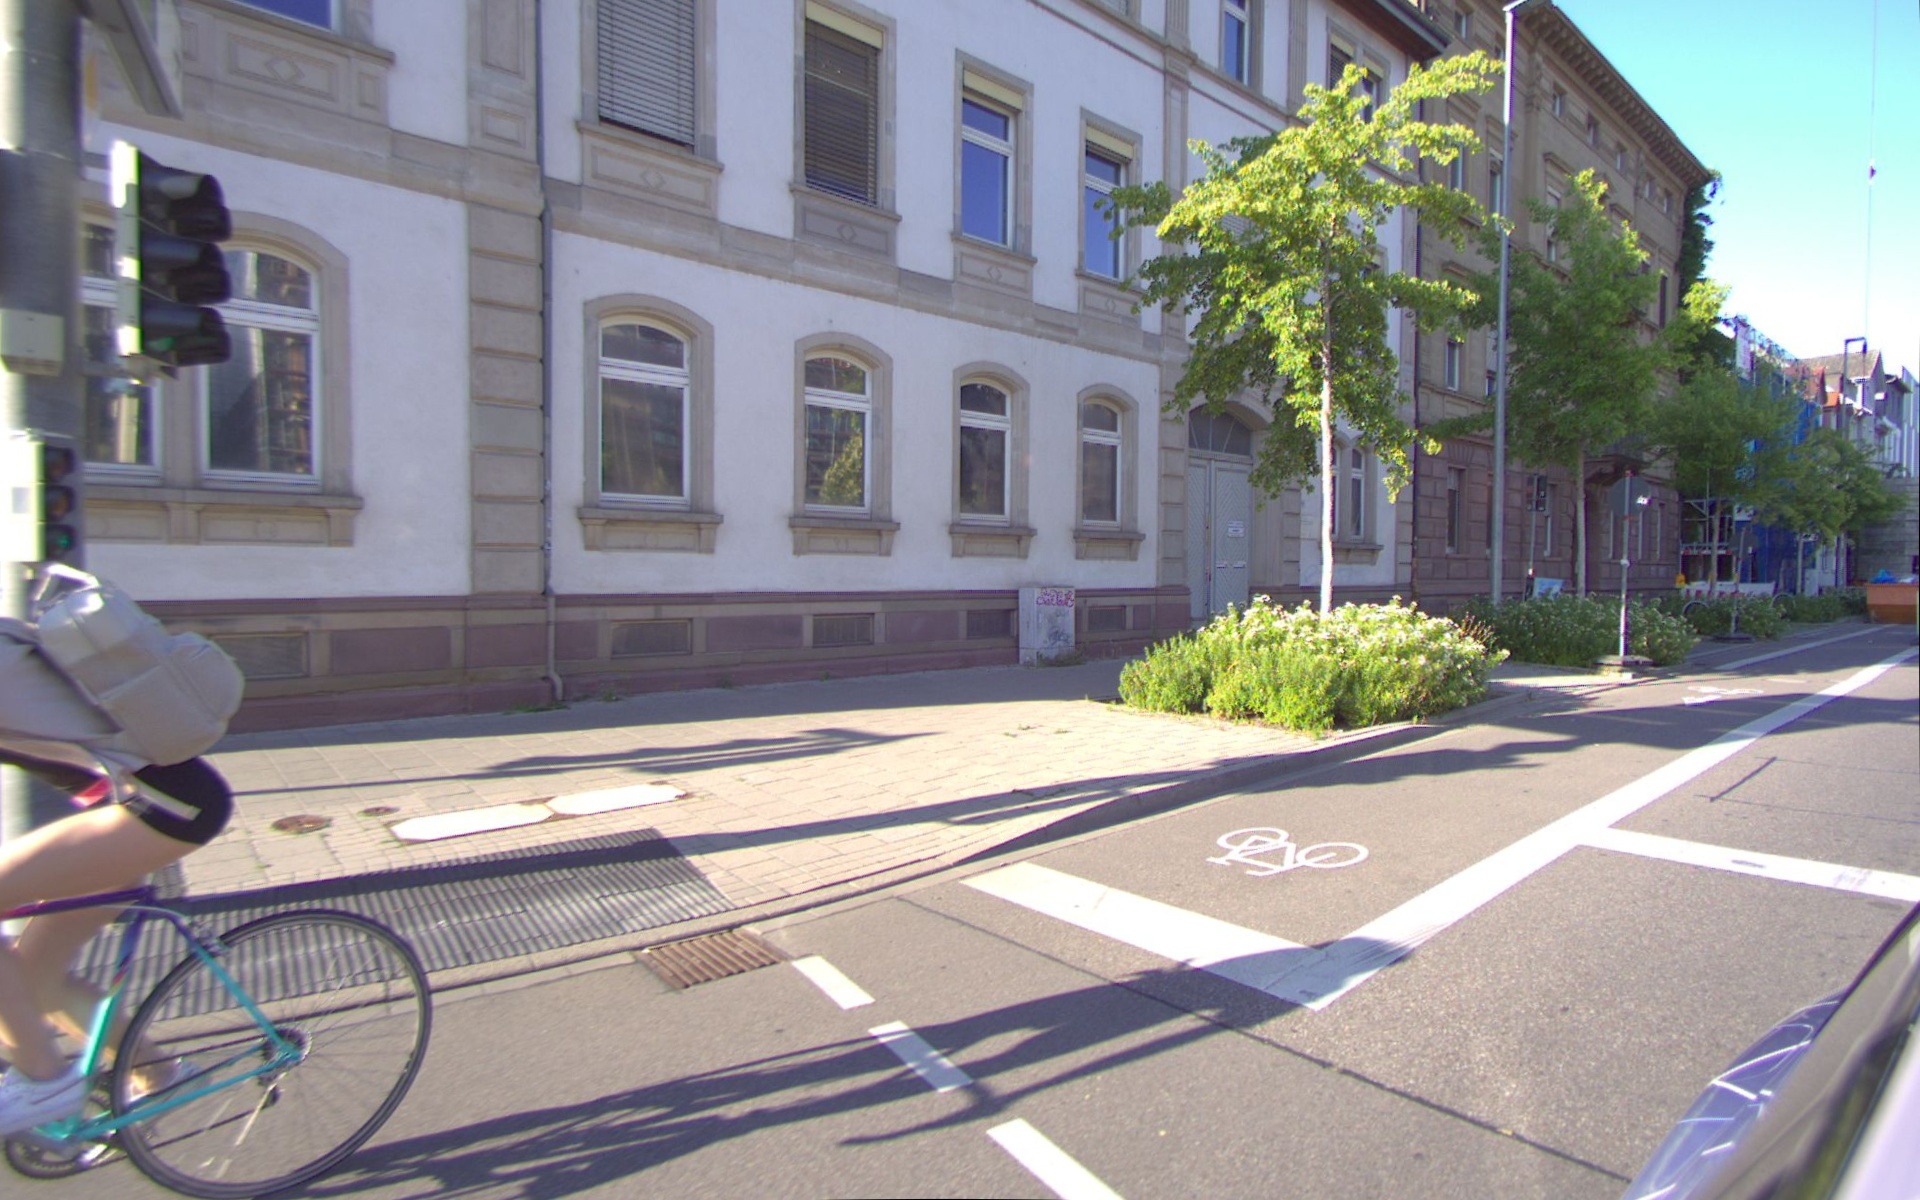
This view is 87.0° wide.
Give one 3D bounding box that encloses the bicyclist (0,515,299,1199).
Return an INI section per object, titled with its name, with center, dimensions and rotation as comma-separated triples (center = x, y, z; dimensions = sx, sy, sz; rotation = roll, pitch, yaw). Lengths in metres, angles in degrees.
[bicyclist]
center = -2.014, 0.590, 2.043
dimensions = 1.062, 1.509, 0.553
rotation = -1, 2, -41

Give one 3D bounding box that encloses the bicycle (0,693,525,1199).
[bicycle]
center = -1.942, 0.853, 2.134
dimensions = 1.811, 1.111, 0.521
rotation = -2, 2, -41
